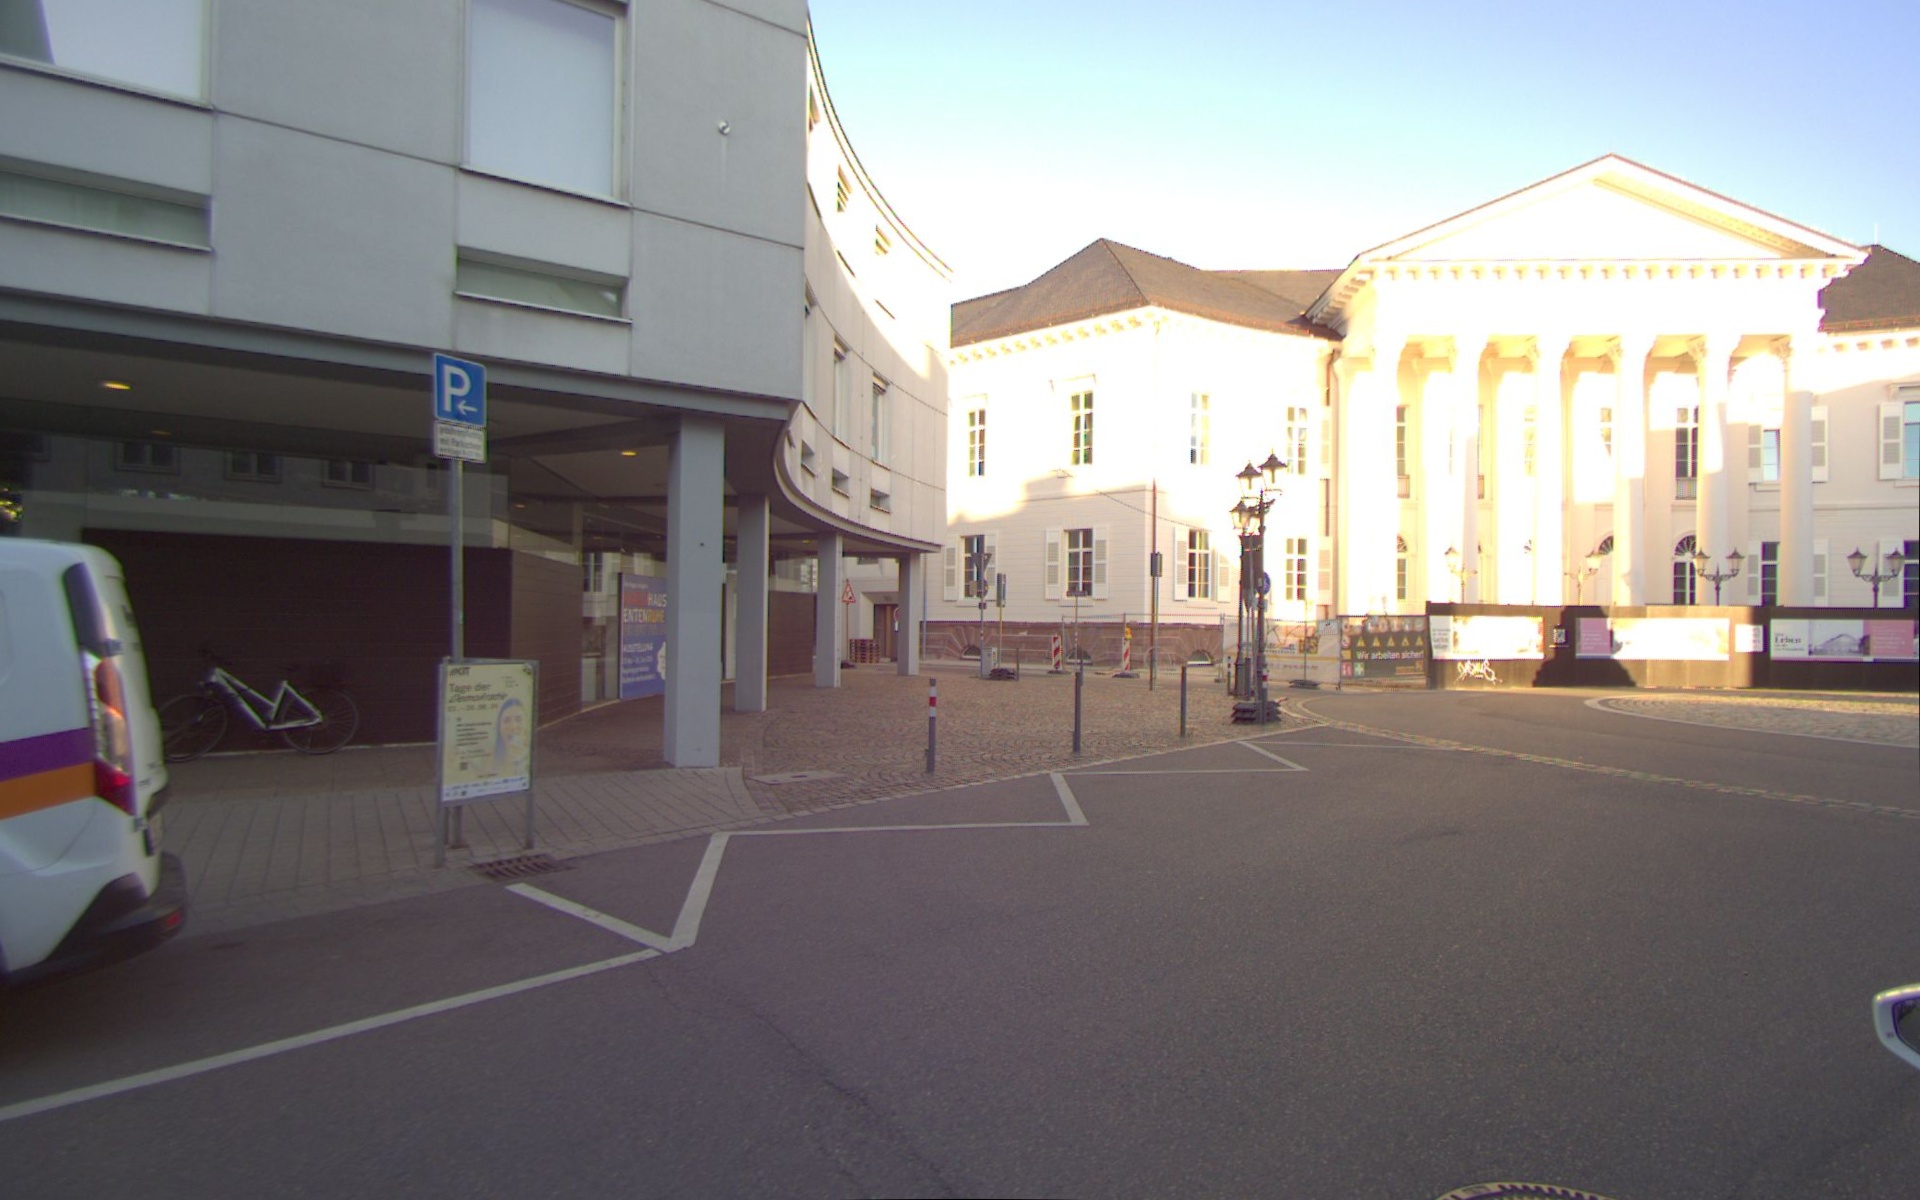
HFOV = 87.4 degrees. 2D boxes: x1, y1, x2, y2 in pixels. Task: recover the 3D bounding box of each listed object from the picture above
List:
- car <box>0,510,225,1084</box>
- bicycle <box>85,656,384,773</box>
[{"bbox_3d":[-5.081,0.592,2.840,4.744,1.840,1.977,2,-1,-40],"label":"car"},{"bbox_3d":[-7.056,1.077,9.934,2.311,0.996,0.728,2,-1,-34],"label":"bicycle"}]
